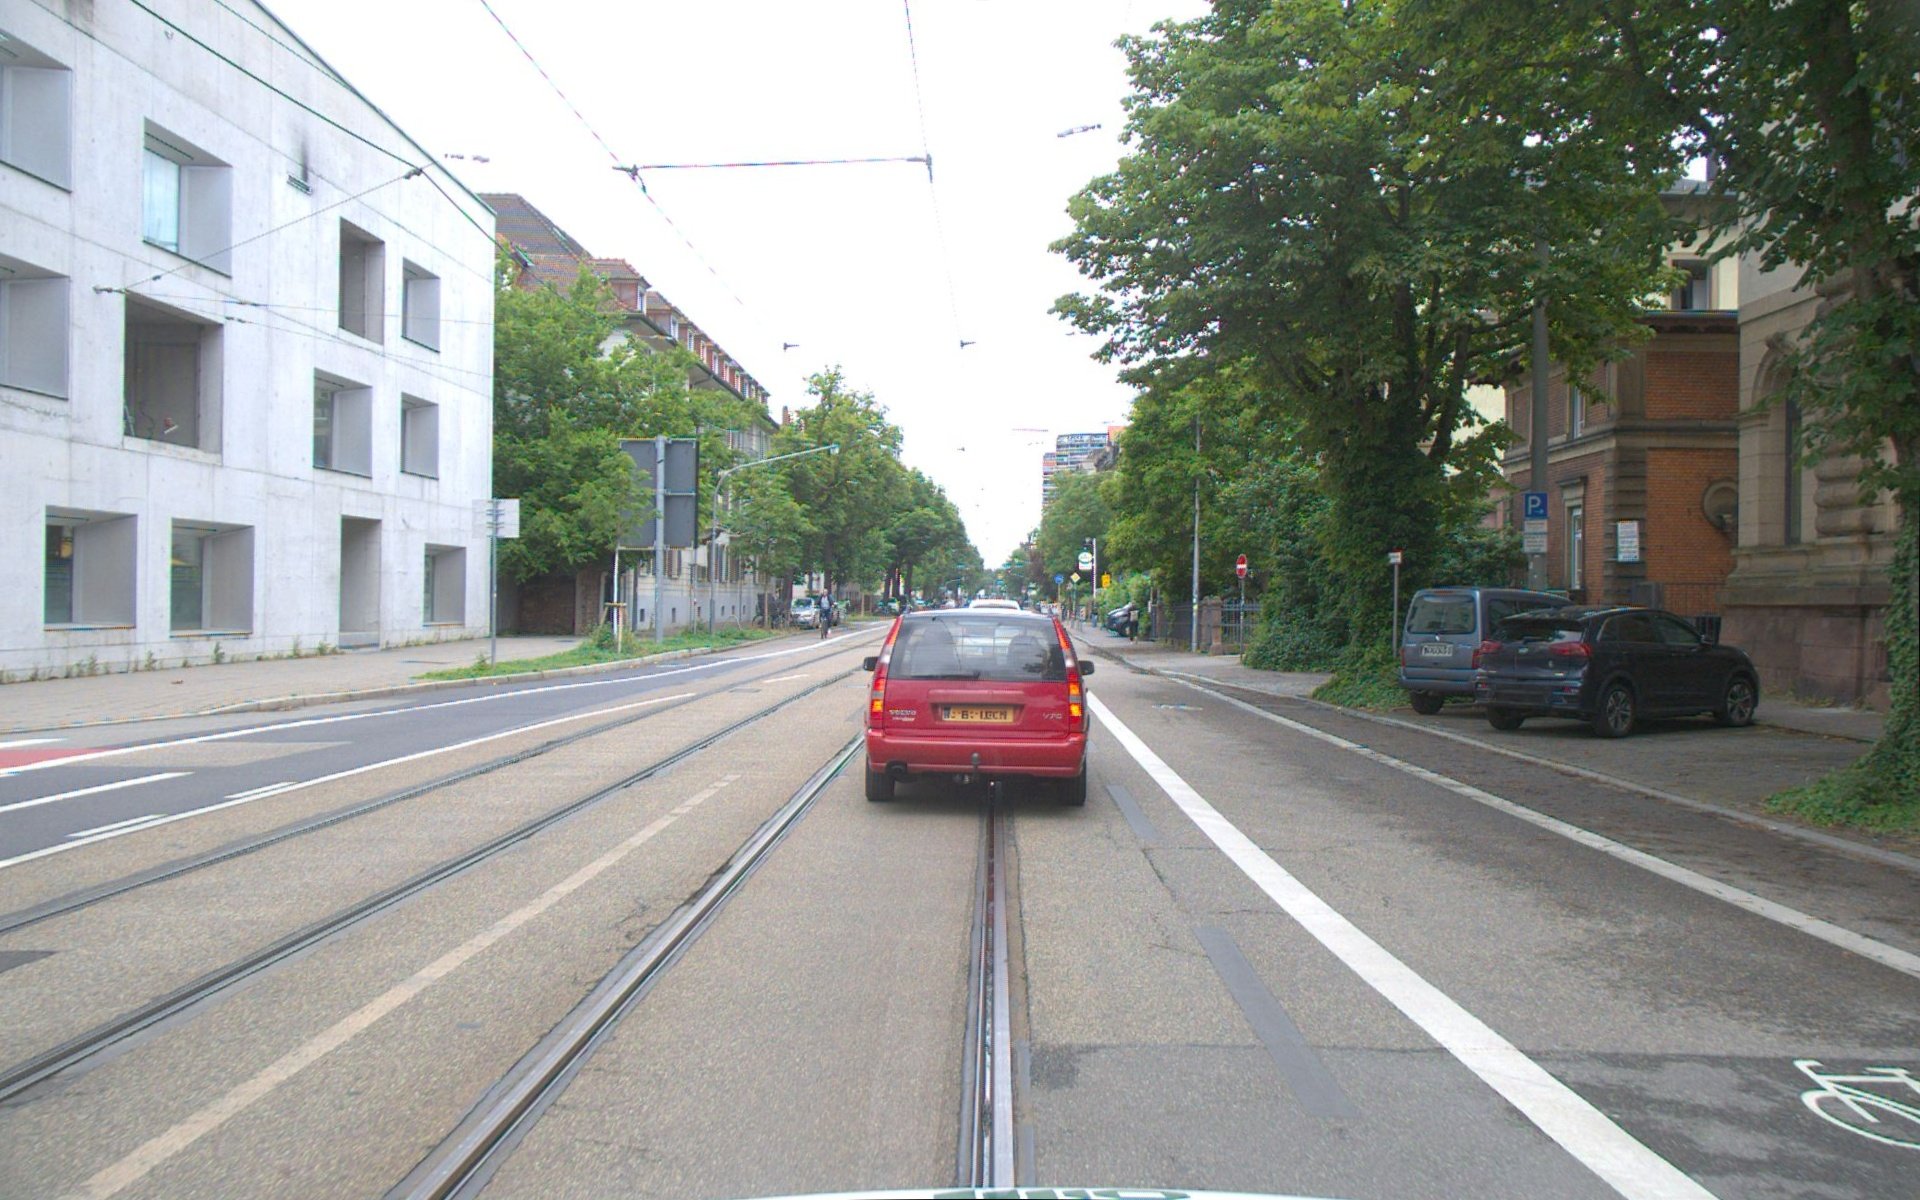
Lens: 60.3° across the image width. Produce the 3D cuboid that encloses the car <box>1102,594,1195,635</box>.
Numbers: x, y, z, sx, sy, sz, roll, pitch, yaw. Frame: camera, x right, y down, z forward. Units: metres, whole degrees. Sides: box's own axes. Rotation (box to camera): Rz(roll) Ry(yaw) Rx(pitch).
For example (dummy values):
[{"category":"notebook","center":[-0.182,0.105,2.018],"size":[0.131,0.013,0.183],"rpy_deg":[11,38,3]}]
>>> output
[{"category":"car","center":[8.673,0.667,76.348],"size":[4.191,1.841,1.824],"rpy_deg":[-1,0,3]}]

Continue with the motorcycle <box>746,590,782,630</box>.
[{"category":"motorcycle","center":[-8.209,0.409,69.426],"size":[0.815,1.672,2.482],"rpy_deg":[1,0,9]}]

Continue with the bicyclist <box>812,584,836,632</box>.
[{"category":"bicyclist","center":[-5.141,0.296,62.561],"size":[0.775,1.815,1.148],"rpy_deg":[1,0,1]}]

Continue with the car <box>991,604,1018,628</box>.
[{"category":"car","center":[3.141,1.094,116.762],"size":[1.706,1.634,3.999],"rpy_deg":[1,0,-1]}]

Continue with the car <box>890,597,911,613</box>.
[{"category":"car","center":[-5.840,0.530,163.375],"size":[1.740,1.537,4.238],"rpy_deg":[1,0,2]}]

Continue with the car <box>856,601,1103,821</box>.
[{"category":"car","center":[0.193,0.753,13.073],"size":[1.654,1.467,3.744],"rpy_deg":[1,0,2]}]

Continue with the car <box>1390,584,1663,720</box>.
[{"category":"car","center":[8.335,0.705,24.287],"size":[3.787,1.852,1.789],"rpy_deg":[0,0,-30]}]

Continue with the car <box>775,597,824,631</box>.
[{"category":"car","center":[-7.520,0.622,77.772],"size":[1.774,1.491,4.614],"rpy_deg":[1,0,0]}]

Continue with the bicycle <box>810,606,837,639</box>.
[{"category":"bicycle","center":[-5.139,0.857,62.444],"size":[0.775,1.207,2.011],"rpy_deg":[1,0,2]}]

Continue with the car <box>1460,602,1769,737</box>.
[{"category":"car","center":[8.467,0.819,21.319],"size":[3.952,1.566,1.843],"rpy_deg":[0,0,-34]}]

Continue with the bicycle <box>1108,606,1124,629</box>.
[{"category":"bicycle","center":[7.818,0.870,82.855],"size":[0.619,1.147,1.812],"rpy_deg":[-1,0,1]}]

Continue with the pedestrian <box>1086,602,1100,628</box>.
[{"category":"pedestrian","center":[8.452,0.943,105.137],"size":[0.776,1.665,0.836],"rpy_deg":[1,0,1]}]

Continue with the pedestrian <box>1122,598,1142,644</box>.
[{"category":"pedestrian","center":[6.541,0.792,62.998],"size":[0.610,1.700,0.960],"rpy_deg":[-2,0,0]}]

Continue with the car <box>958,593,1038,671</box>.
[{"category":"car","center":[0.912,0.707,37.599],"size":[1.683,1.653,3.942],"rpy_deg":[1,0,3]}]
